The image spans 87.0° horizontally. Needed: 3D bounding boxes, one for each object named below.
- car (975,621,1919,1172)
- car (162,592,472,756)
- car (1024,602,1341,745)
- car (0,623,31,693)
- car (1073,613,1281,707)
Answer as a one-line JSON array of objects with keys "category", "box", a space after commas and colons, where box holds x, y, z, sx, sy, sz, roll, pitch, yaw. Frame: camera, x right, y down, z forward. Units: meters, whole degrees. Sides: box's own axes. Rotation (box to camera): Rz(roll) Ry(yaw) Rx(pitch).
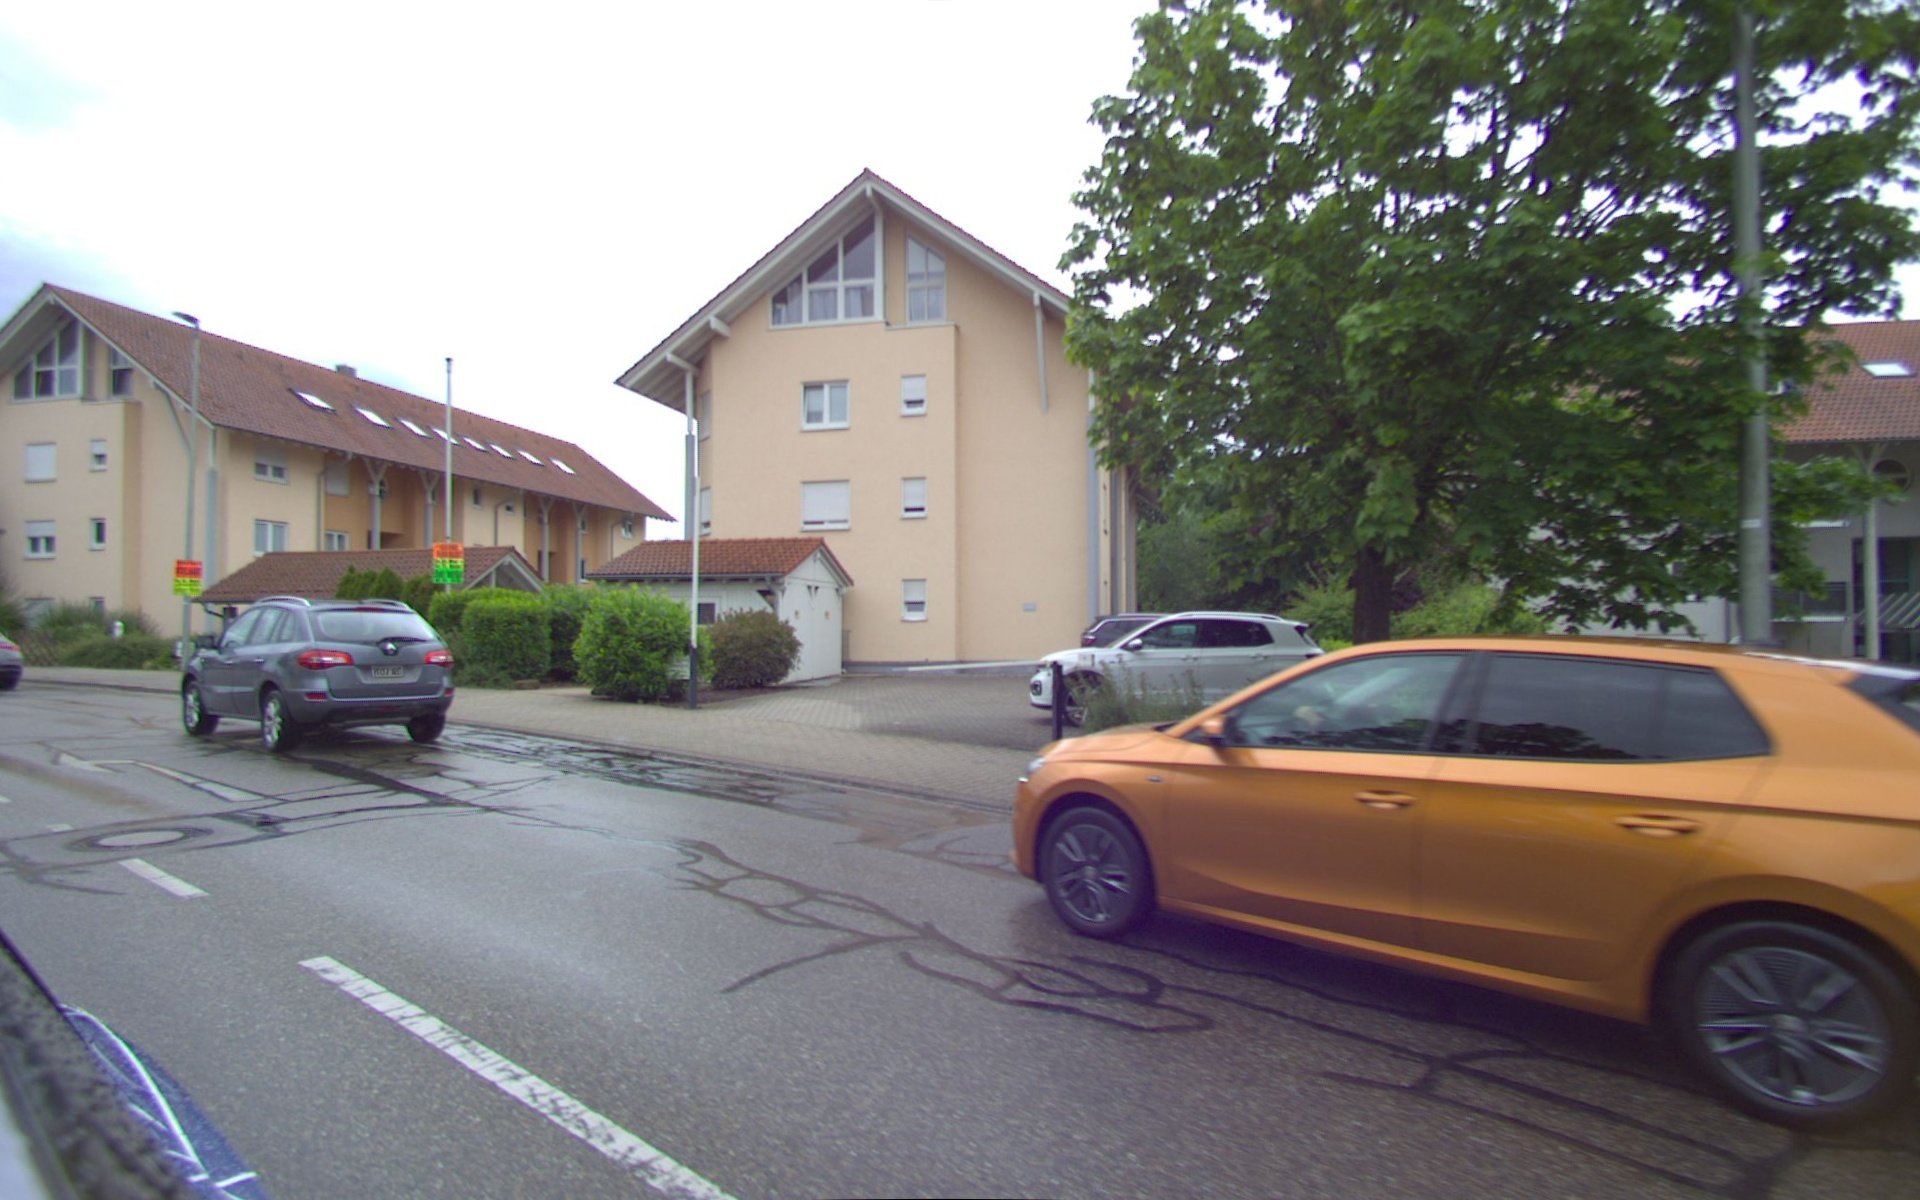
[{"category": "car", "box": [2.194, 0.825, 4.359, 4.117, 1.450, 1.880, -1, -2, 44]}, {"category": "car", "box": [-7.937, 0.845, 12.362, 4.260, 1.670, 1.883, -2, -3, 38]}, {"category": "car", "box": [3.009, 0.926, 14.045, 3.959, 1.663, 1.992, 2, 0, 13]}, {"category": "car", "box": [-21.470, 1.235, 21.119, 4.472, 1.401, 1.888, -2, -2, 31]}, {"category": "car", "box": [4.501, 1.161, 20.882, 3.967, 1.663, 1.988, 2, 0, 18]}]
